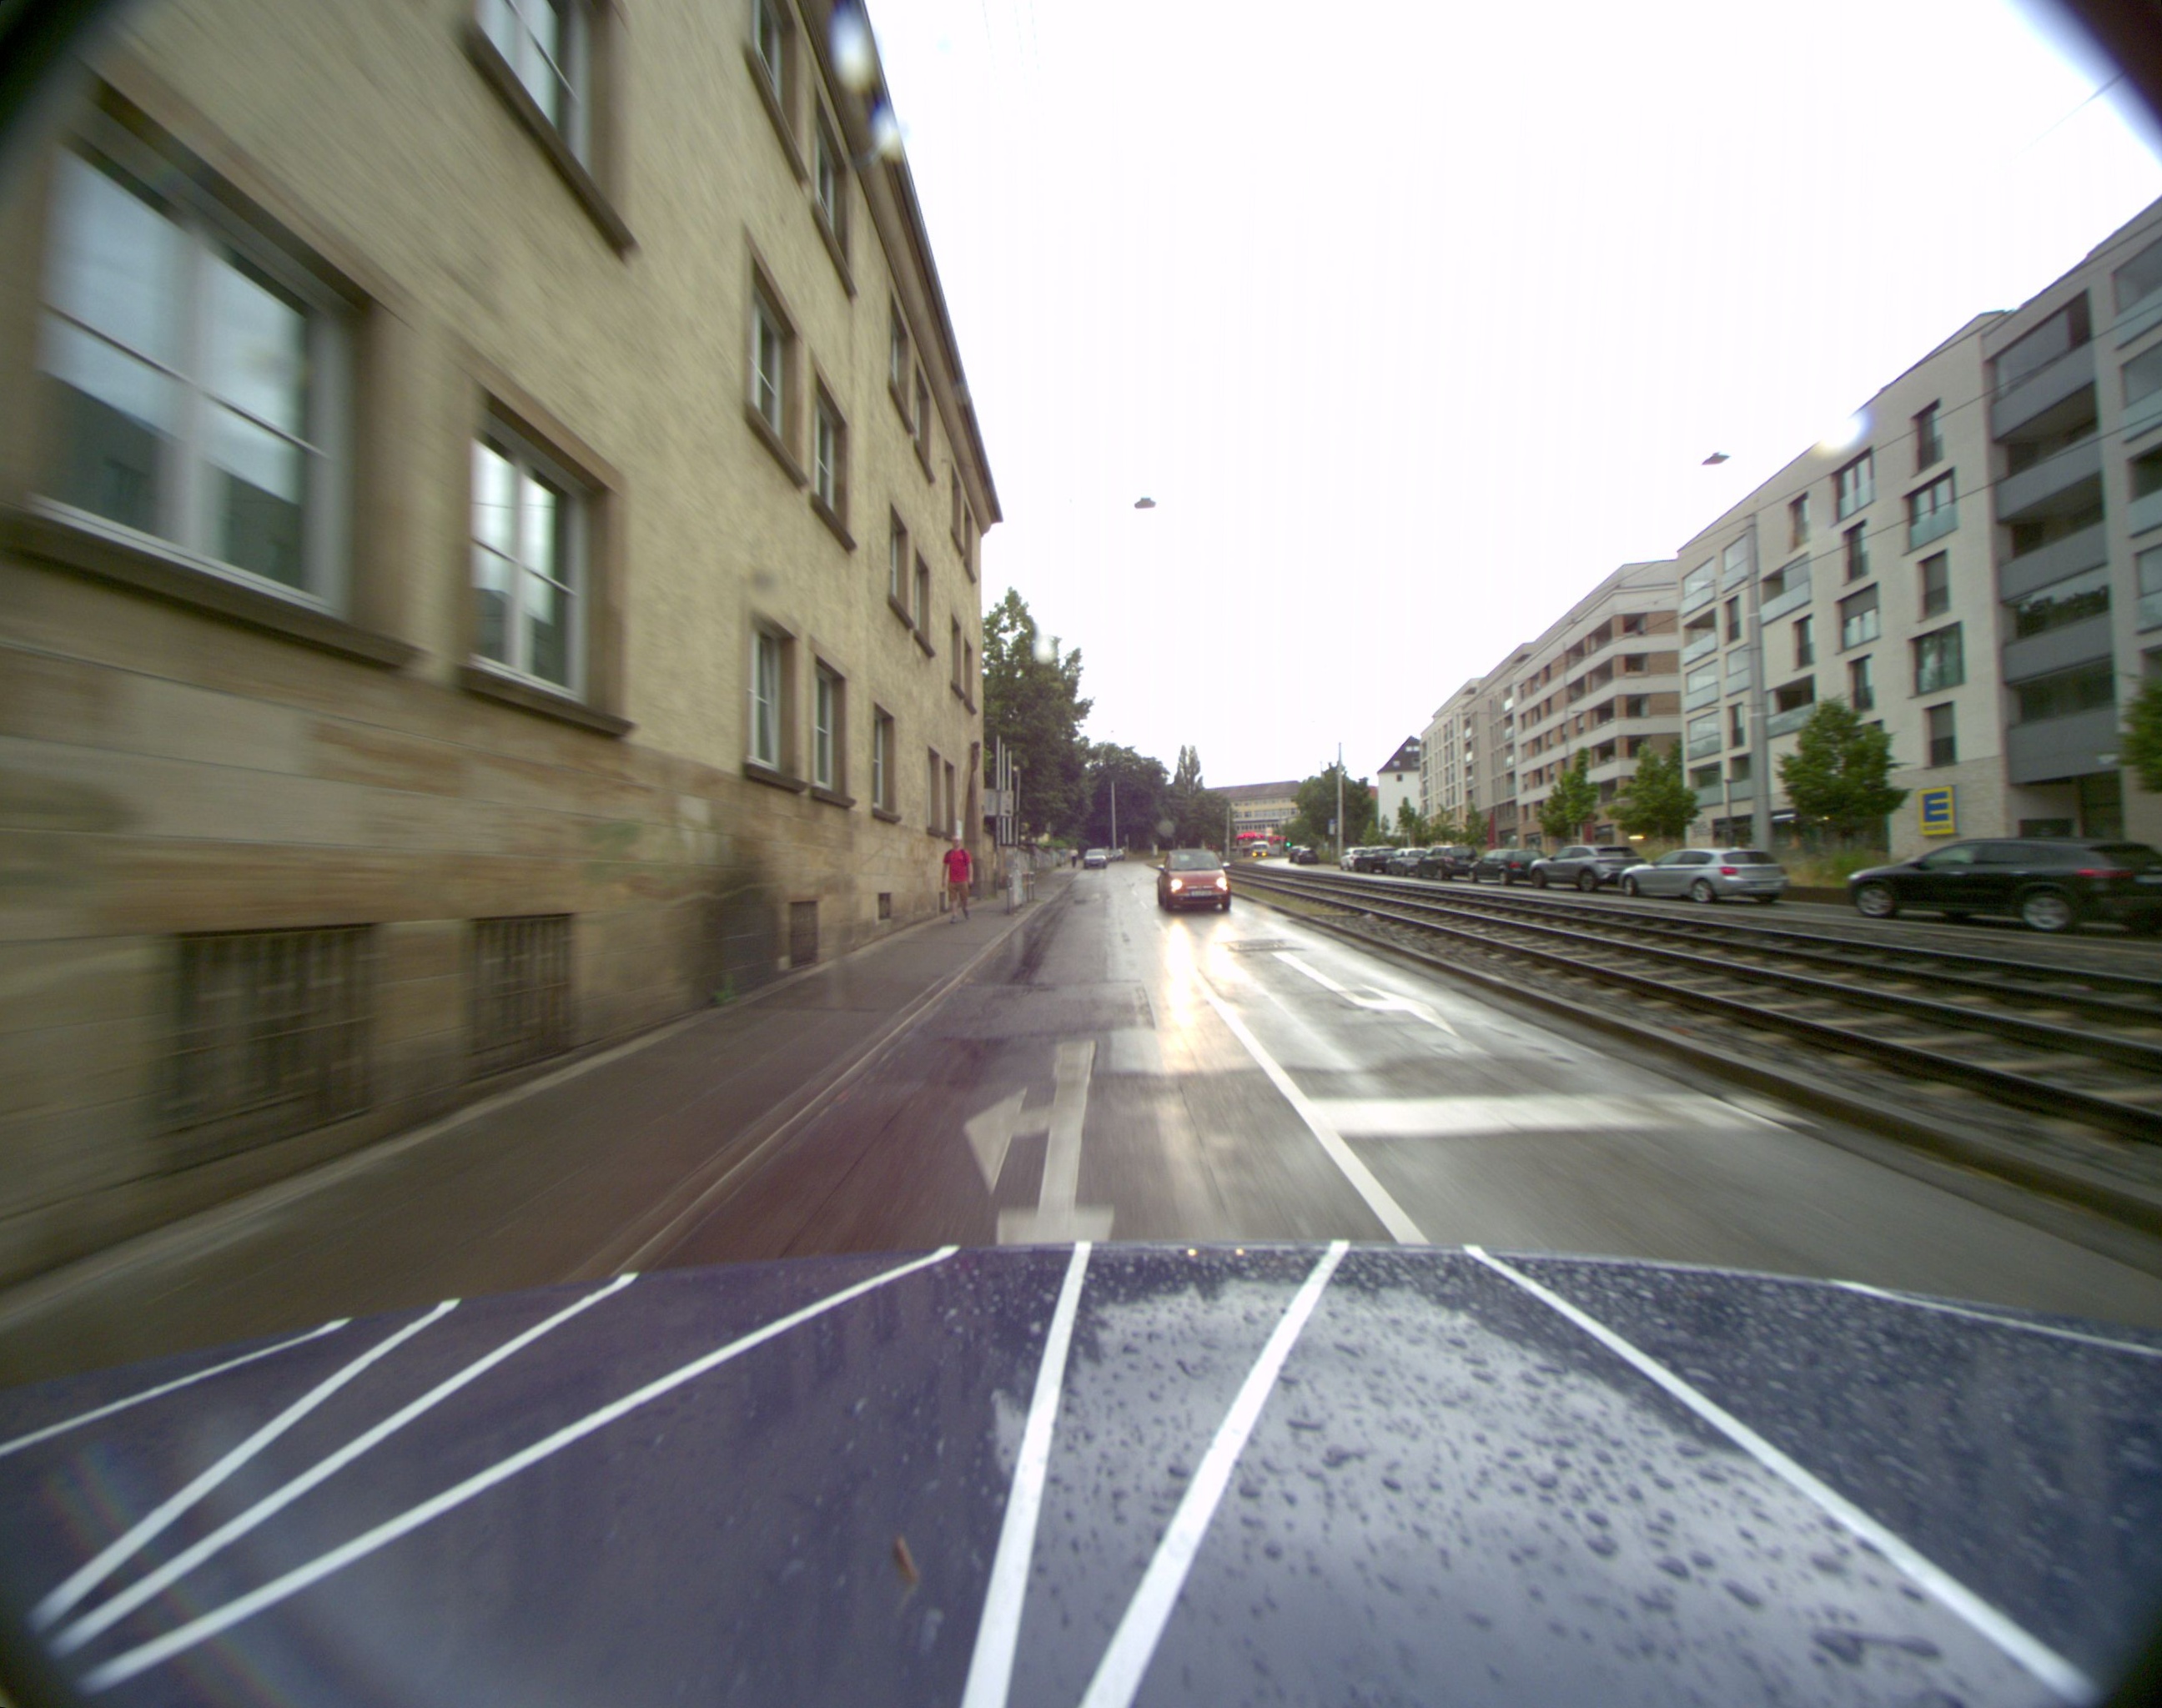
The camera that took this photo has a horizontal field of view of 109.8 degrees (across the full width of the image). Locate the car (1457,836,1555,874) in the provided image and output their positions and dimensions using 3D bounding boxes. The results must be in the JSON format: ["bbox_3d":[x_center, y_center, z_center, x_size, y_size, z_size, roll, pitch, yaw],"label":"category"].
[{"bbox_3d":[16.902,-0.003,30.449,1.684,1.373,4.033,-2,1,1],"label":"car"}]

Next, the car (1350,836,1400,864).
[{"bbox_3d":[17.530,-0.264,45.497,1.683,1.496,4.406,-2,1,7],"label":"car"}]

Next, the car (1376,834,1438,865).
[{"bbox_3d":[17.448,-0.265,40.881,1.684,1.496,3.928,-2,1,1],"label":"car"}]

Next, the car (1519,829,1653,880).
[{"bbox_3d":[16.998,-0.012,25.841,1.684,1.521,4.048,-2,1,-3],"label":"car"}]

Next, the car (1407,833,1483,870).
[{"bbox_3d":[16.934,-0.144,35.530,1.684,1.554,3.928,-2,1,1],"label":"car"}]

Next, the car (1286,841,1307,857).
[{"bbox_3d":[22.018,-0.519,77.693,1.653,1.456,3.672,-3,1,11],"label":"car"}]

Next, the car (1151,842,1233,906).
[{"bbox_3d":[2.817,0.451,19.953,1.593,1.456,3.670,-3,1,1],"label":"car"}]

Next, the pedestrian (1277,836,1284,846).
[{"bbox_3d":[33.781,-2.175,128.602,0.816,1.754,0.751,2,1,41],"label":"pedestrian"}]

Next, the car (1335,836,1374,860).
[{"bbox_3d":[18.120,-0.432,50.512,1.649,1.496,3.782,-2,1,7],"label":"car"}]

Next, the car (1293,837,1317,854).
[{"bbox_3d":[20.394,-0.784,69.333,1.653,1.456,3.672,-3,1,11],"label":"car"}]

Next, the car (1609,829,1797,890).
[{"bbox_3d":[16.857,0.102,20.918,1.684,1.456,4.329,-2,1,1],"label":"car"}]

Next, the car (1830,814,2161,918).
[{"bbox_3d":[16.836,0.150,14.091,1.684,1.594,4.329,-2,1,1],"label":"car"}]

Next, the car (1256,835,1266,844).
[{"bbox_3d":[35.470,-2.811,149.760,1.666,1.598,3.812,-3,1,17],"label":"car"}]

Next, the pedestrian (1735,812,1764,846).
[{"bbox_3d":[29.484,-1.108,33.517,0.657,1.441,0.803,-3,1,14],"label":"pedestrian"}]

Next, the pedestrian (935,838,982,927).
[{"bbox_3d":[-2.507,0.573,15.625,0.748,1.754,0.818,2,1,1],"label":"pedestrian"}]

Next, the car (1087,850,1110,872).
[{"bbox_3d":[1.379,0.541,61.944,1.726,1.676,3.866,-3,1,1],"label":"car"}]
